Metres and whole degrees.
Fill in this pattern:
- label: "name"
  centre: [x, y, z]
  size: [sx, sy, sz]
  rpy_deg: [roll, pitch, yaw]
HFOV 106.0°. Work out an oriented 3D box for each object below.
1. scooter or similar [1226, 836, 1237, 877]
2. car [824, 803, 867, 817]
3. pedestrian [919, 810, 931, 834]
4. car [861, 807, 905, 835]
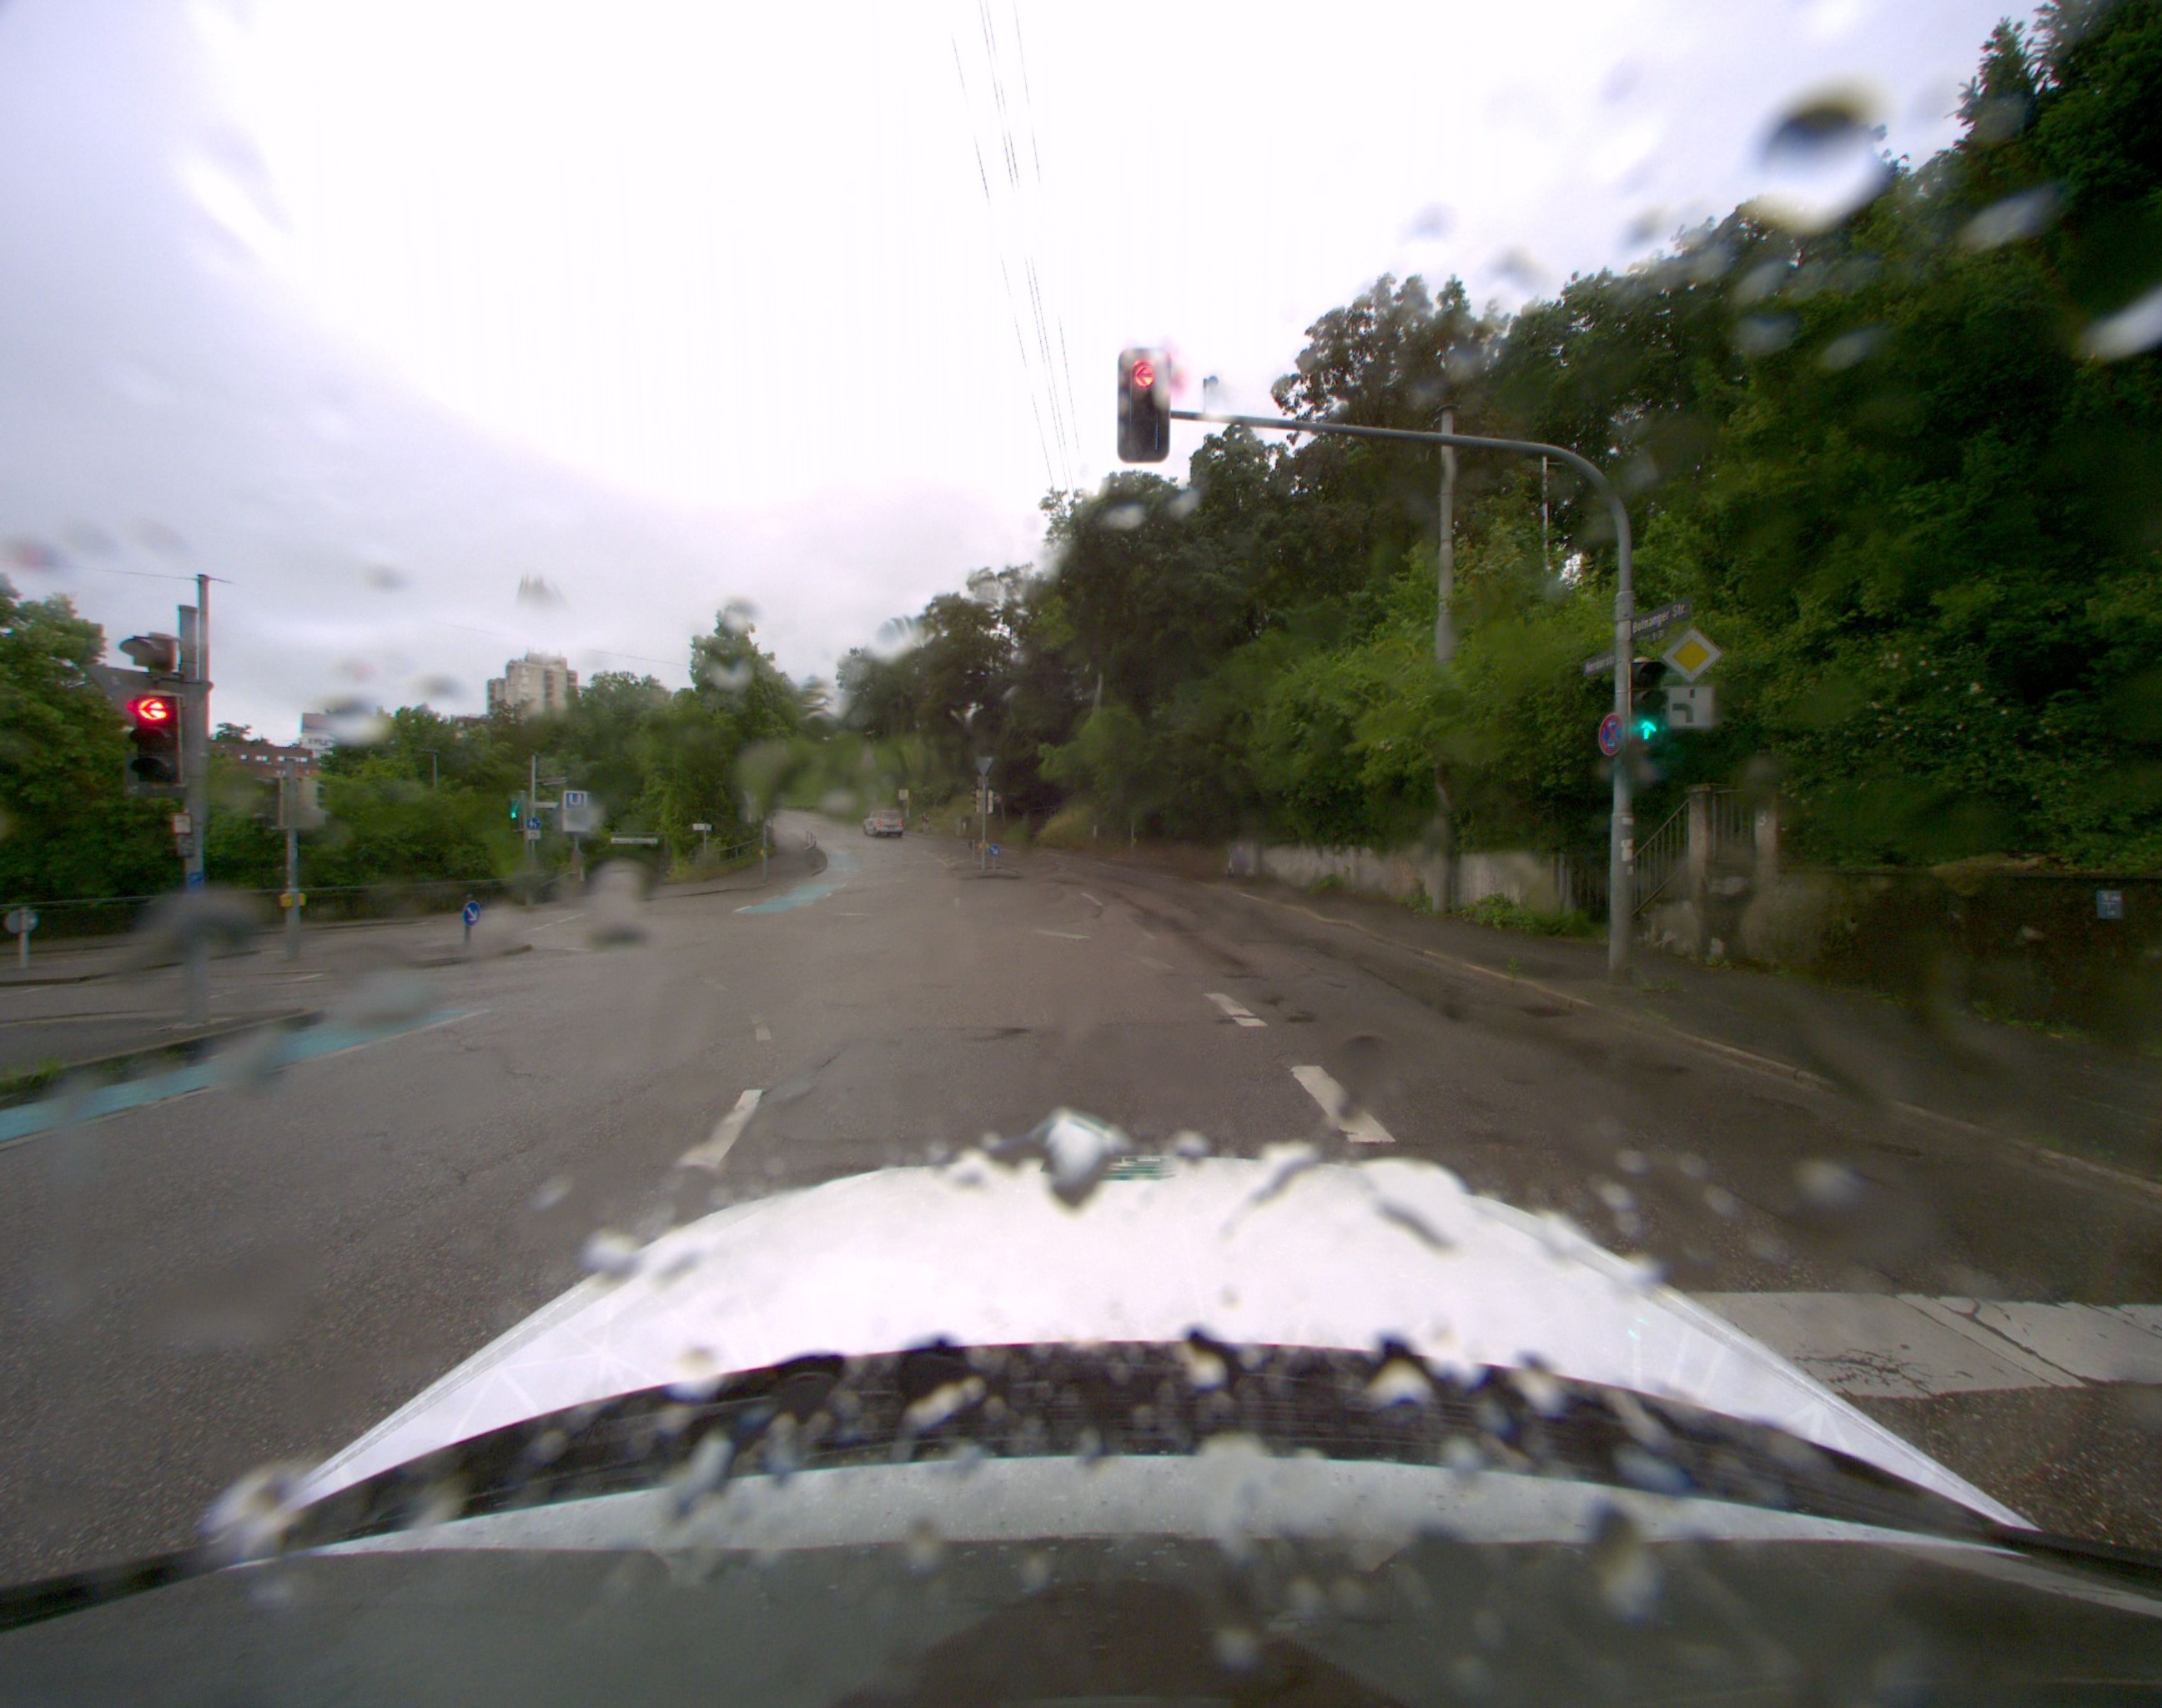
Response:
- label: "scooter or similar"
  centre: [4.905, 0.064, 26.500]
  size: [0.320, 1.279, 0.754]
  rpy_deg: [-1, 2, 10]
- label: "car"
  centre: [-27.364, -5.111, 94.713]
  size: [4.357, 1.511, 1.971]
  rpy_deg: [1, 3, 15]
- label: "pedestrian"
  centre: [-11.966, -2.443, 62.522]
  size: [0.882, 1.736, 0.861]
  rpy_deg: [0, -1, -15]
- label: "car"
  centre: [-14.943, -2.431, 61.289]
  size: [2.078, 2.006, 4.770]
  rpy_deg: [-1, 1, -29]
